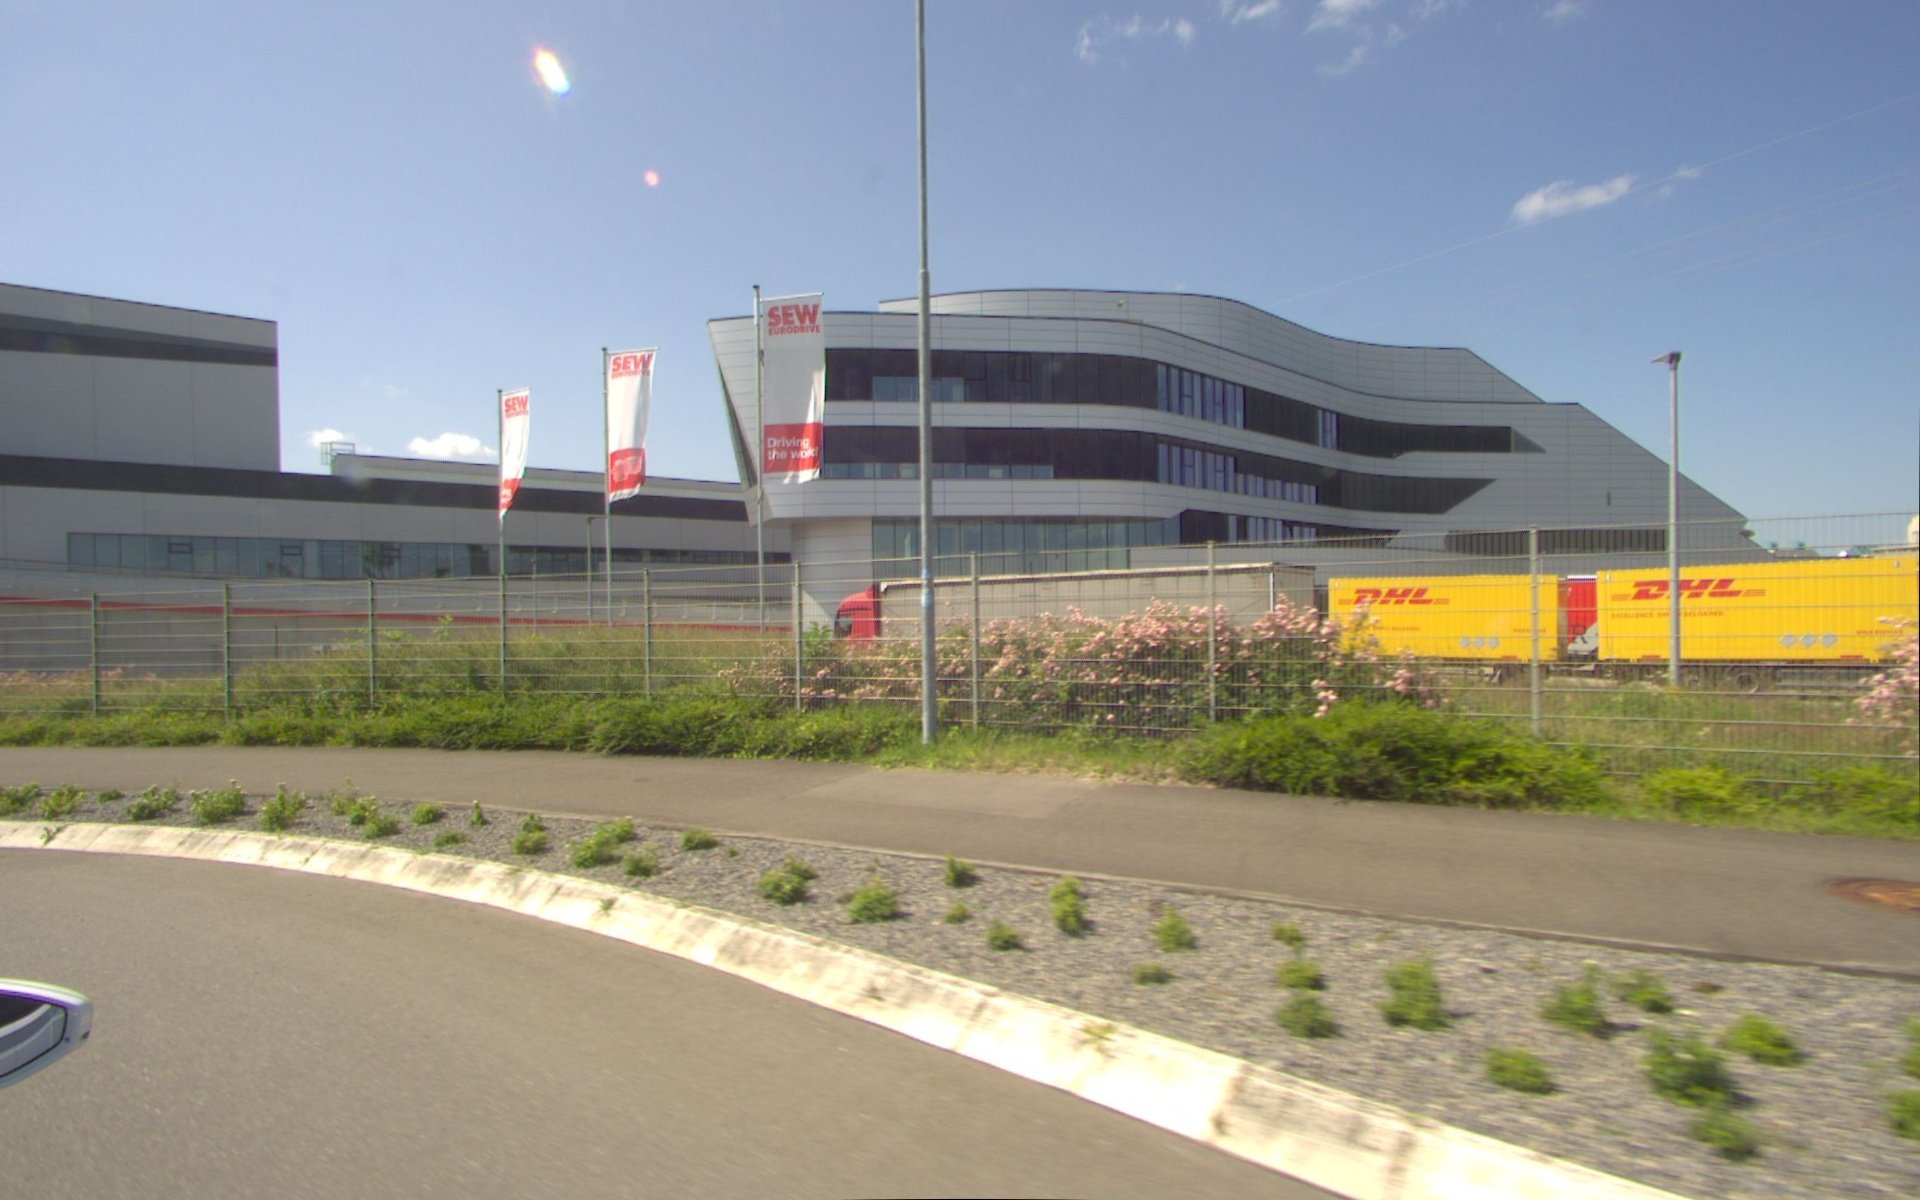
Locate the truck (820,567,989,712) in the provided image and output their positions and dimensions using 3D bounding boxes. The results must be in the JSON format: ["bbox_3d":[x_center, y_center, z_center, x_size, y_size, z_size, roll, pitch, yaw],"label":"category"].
[{"bbox_3d":[-1.932,1.218,33.719,5.231,4.482,2.743,0,1,42],"label":"truck"}]

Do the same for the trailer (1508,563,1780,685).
[{"bbox_3d":[26.919,0.846,39.761,8.620,4.354,3.002,0,1,43],"label":"trailer"}]

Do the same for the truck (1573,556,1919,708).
[{"bbox_3d":[25.394,0.887,30.819,10.853,4.229,2.797,0,1,43],"label":"truck"}]

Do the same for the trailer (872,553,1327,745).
[{"bbox_3d":[3.248,1.174,29.061,13.904,4.497,2.742,0,1,42],"label":"trailer"}]

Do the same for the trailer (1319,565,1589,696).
[{"bbox_3d":[18.124,1.016,37.147,8.609,4.354,2.879,0,1,39],"label":"trailer"}]

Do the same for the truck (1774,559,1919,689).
[{"bbox_3d":[34.066,0.763,33.199,10.851,4.313,3.002,0,1,42],"label":"truck"}]
